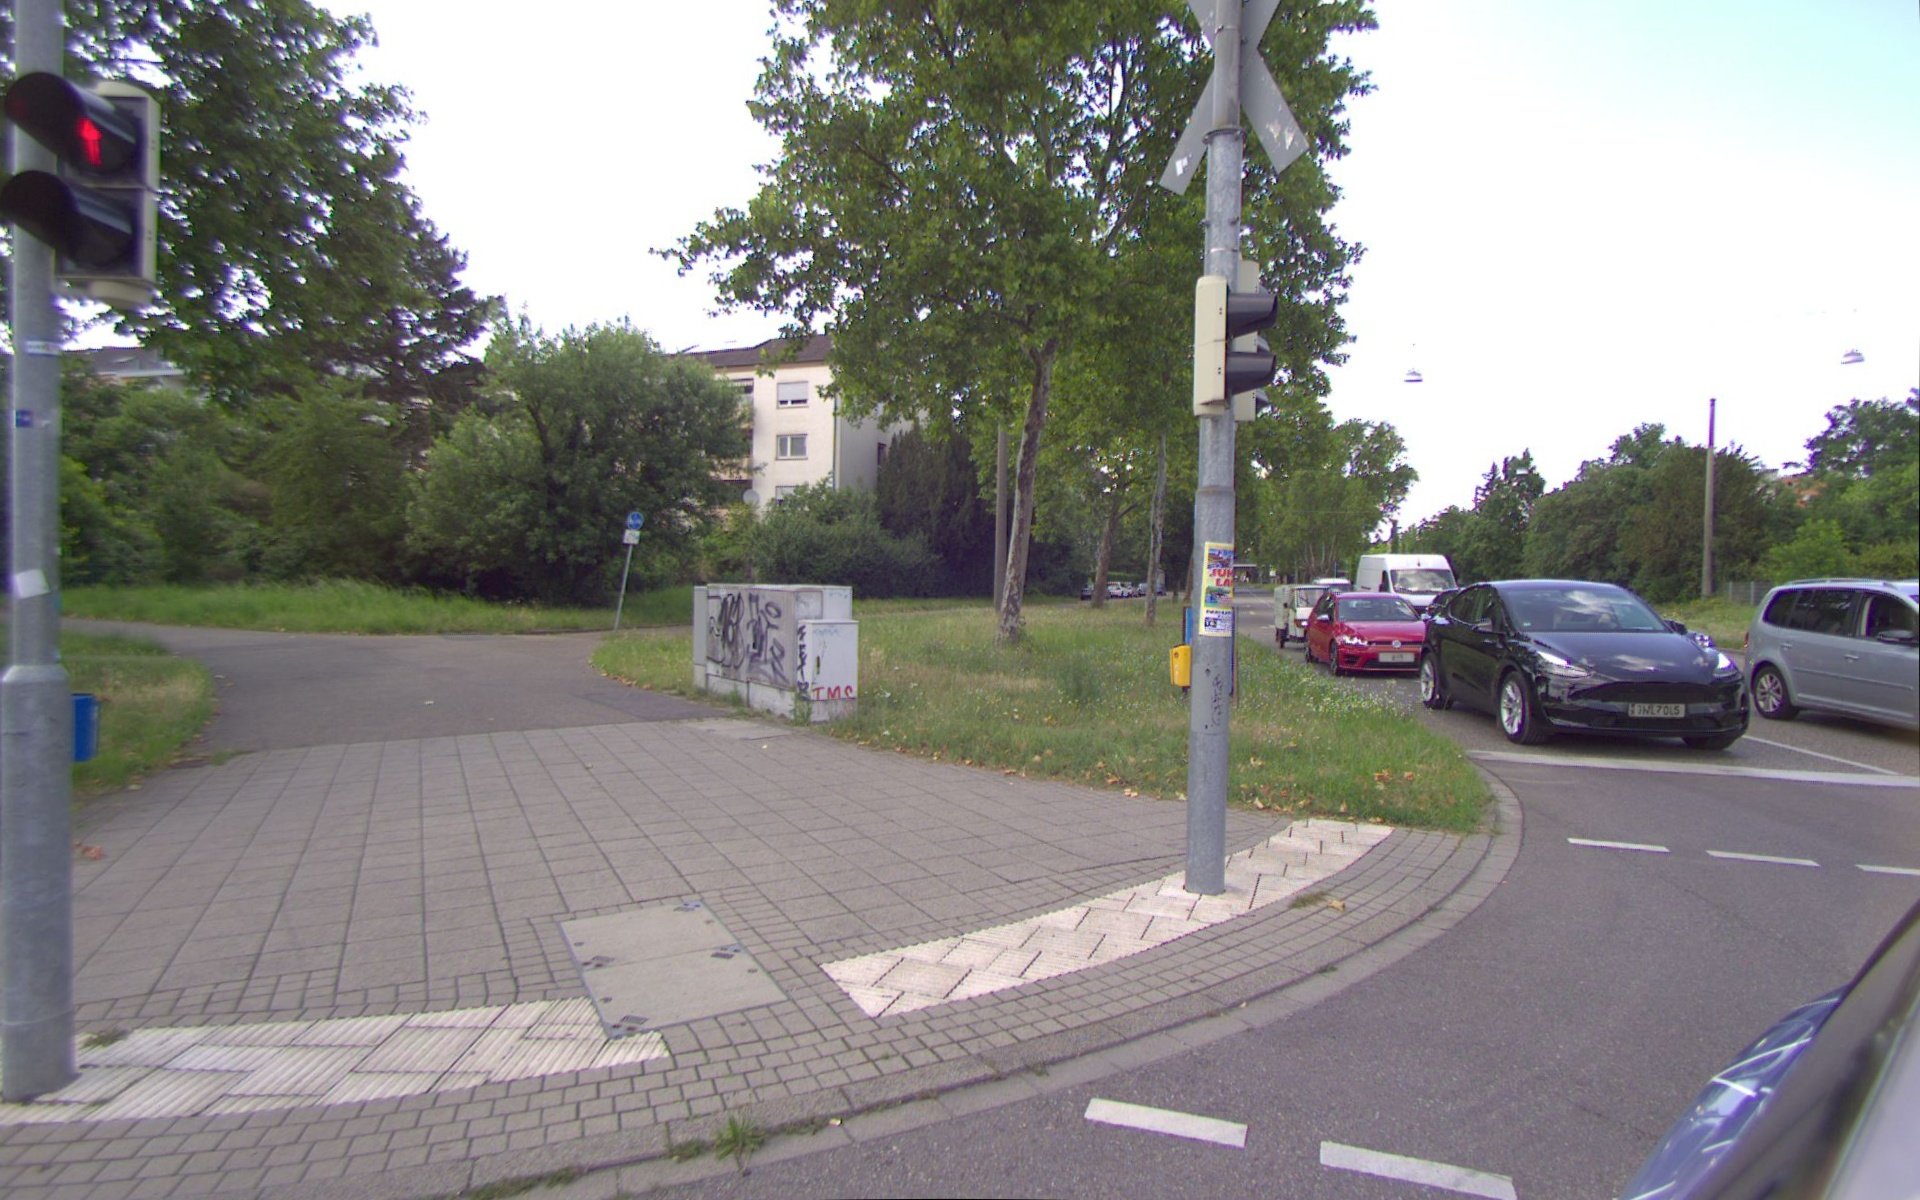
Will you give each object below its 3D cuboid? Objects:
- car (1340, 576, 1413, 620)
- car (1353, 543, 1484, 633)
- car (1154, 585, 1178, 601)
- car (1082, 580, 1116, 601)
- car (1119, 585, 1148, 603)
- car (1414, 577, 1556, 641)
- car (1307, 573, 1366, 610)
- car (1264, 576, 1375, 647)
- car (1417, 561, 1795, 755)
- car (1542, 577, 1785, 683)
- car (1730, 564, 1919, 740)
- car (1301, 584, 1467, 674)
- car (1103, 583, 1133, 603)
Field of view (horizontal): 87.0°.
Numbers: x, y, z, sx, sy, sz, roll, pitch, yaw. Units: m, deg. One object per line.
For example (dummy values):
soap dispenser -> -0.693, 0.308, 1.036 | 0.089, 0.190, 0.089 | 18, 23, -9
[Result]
car -> 16.272, -0.129, 39.755 | 1.814, 1.638, 4.144 | 0, 1, 10
car -> 14.280, -0.414, 31.971 | 2.191, 2.561, 5.919 | -1, 1, 9
car -> 22.954, -0.793, 112.678 | 1.758, 1.616, 3.624 | 1, -1, 25
car -> 11.360, -0.767, 82.704 | 1.758, 1.616, 3.624 | 1, -1, 25
car -> 16.323, -0.535, 95.086 | 1.758, 1.616, 3.624 | 1, -1, 25
car -> 12.581, 0.155, 24.555 | 1.736, 1.392, 4.333 | -1, 1, 9
car -> 17.814, -0.444, 48.012 | 1.736, 1.667, 4.333 | 1, 1, 9
car -> 8.823, 0.217, 25.203 | 1.772, 1.589, 4.492 | -1, 1, 9
car -> 6.657, 0.454, 11.145 | 1.901, 1.672, 4.566 | -1, 1, 11
car -> 11.390, 0.407, 16.757 | 1.775, 1.527, 3.989 | -1, 1, 10
car -> 10.188, 0.470, 10.205 | 1.899, 1.672, 4.492 | -1, 1, 9
car -> 7.675, 0.446, 18.788 | 1.772, 1.408, 4.492 | -1, 1, 9
car -> 14.289, -0.618, 91.326 | 1.758, 1.616, 3.624 | 1, -1, 25
